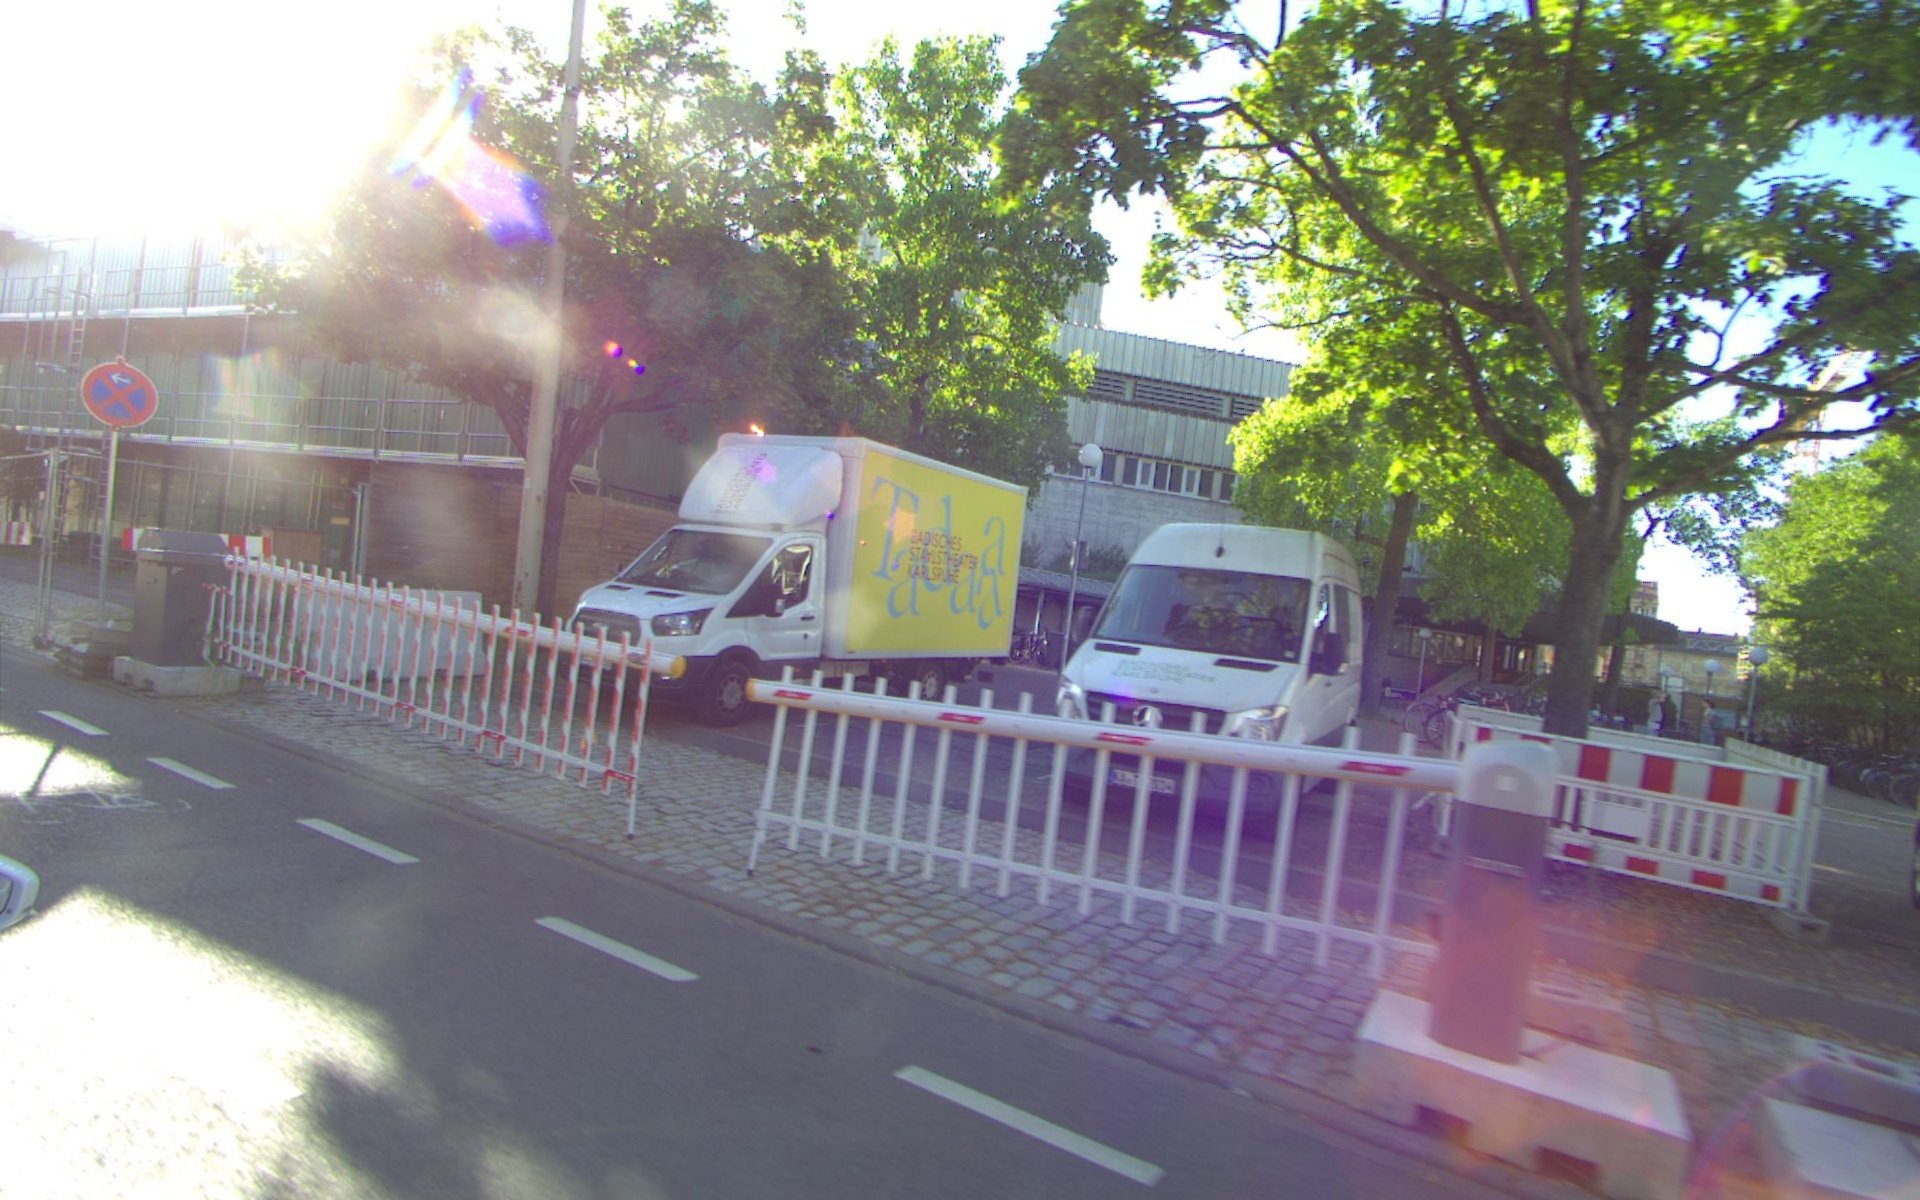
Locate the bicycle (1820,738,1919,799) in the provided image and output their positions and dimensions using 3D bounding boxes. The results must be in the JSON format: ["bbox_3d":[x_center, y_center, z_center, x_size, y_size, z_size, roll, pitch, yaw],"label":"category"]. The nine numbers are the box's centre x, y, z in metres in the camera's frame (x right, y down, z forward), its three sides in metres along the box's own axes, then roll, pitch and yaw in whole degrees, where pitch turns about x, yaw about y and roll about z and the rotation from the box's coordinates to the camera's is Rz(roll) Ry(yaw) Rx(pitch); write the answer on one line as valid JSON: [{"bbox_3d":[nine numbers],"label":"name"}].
[{"bbox_3d":[23.241,4.235,24.954,2.798,1.161,0.818,6,-1,40],"label":"bicycle"}]

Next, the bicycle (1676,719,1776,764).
[{"bbox_3d":[28.196,5.207,37.105,2.793,1.161,0.819,6,0,34],"label":"bicycle"}]

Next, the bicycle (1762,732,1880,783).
[{"bbox_3d":[27.880,5.084,32.661,2.798,1.161,0.818,6,-1,40],"label":"bicycle"}]

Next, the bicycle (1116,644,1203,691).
[{"bbox_3d":[6.372,2.150,32.312,0.814,1.161,2.811,7,-1,-36],"label":"bicycle"}]

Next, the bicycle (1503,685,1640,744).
[{"bbox_3d":[16.775,3.119,27.656,3.045,1.161,0.818,6,-1,40],"label":"bicycle"}]

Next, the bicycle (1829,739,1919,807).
[{"bbox_3d":[20.148,3.743,21.103,2.798,1.161,0.818,6,-1,40],"label":"bicycle"}]

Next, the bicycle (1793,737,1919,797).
[{"bbox_3d":[24.887,4.596,27.800,2.798,1.161,0.818,6,-1,40],"label":"bicycle"}]

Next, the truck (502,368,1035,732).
[{"bbox_3d":[-1.841,-0.353,12.999,2.350,3.390,7.105,7,0,31],"label":"truck"}]

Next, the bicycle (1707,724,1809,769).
[{"bbox_3d":[29.656,5.421,37.451,2.793,1.161,0.819,6,0,34],"label":"bicycle"}]

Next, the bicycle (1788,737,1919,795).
[{"bbox_3d":[26.052,4.800,29.366,2.798,1.161,0.818,6,-1,40],"label":"bicycle"}]

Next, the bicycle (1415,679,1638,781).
[{"bbox_3d":[9.325,2.103,16.689,3.045,1.161,0.818,6,-1,40],"label":"bicycle"}]

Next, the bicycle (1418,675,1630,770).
[{"bbox_3d":[9.787,2.102,17.590,3.045,1.161,0.818,6,-1,40],"label":"bicycle"}]

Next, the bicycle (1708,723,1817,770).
[{"bbox_3d":[27.907,5.085,35.054,2.793,1.161,0.819,6,0,34],"label":"bicycle"}]

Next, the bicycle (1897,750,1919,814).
[{"bbox_3d":[19.396,3.609,18.661,2.798,1.161,0.818,6,-1,40],"label":"bicycle"}]

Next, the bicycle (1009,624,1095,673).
[{"bbox_3d":[2.741,1.428,30.261,0.814,1.161,2.811,7,-1,-36],"label":"bicycle"}]

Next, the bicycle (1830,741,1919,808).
[{"bbox_3d":[20.721,3.874,21.734,2.798,1.161,0.818,6,-1,40],"label":"bicycle"}]

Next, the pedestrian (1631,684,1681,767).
[{"bbox_3d":[18.207,3.266,26.314,0.792,2.038,0.934,7,0,42],"label":"pedestrian"}]

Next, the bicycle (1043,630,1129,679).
[{"bbox_3d":[3.840,1.655,30.954,0.814,1.161,2.811,7,-1,-36],"label":"bicycle"}]

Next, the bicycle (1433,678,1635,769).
[{"bbox_3d":[10.486,2.222,18.492,3.045,1.161,0.818,6,-1,40],"label":"bicycle"}]

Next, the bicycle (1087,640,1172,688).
[{"bbox_3d":[5.359,2.016,32.043,0.814,1.161,2.811,7,-1,-36],"label":"bicycle"}]

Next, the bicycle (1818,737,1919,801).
[{"bbox_3d":[21.768,3.977,23.273,2.798,1.161,0.818,6,-1,40],"label":"bicycle"}]

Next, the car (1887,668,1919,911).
[{"bbox_3d":[7.803,1.499,6.438,1.980,1.916,4.929,7,1,36],"label":"car"}]

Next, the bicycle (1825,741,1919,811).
[{"bbox_3d":[19.425,3.668,20.360,2.798,1.161,0.818,6,-1,40],"label":"bicycle"}]

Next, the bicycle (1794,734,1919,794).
[{"bbox_3d":[24.305,4.402,27.050,2.798,1.161,0.818,6,-1,40],"label":"bicycle"}]

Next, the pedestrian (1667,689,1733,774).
[{"bbox_3d":[19.171,3.387,26.090,0.788,2.038,1.031,7,0,7],"label":"pedestrian"}]

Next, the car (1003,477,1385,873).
[{"bbox_3d":[2.560,0.531,9.502,1.965,2.564,5.369,7,2,28],"label":"car"}]

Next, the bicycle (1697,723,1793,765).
[{"bbox_3d":[30.328,5.545,38.933,2.793,1.161,0.819,6,0,34],"label":"bicycle"}]

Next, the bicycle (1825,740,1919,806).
[{"bbox_3d":[21.266,3.958,22.495,2.798,1.161,0.818,6,-1,40],"label":"bicycle"}]

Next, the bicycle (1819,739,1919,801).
[{"bbox_3d":[22.370,4.119,23.956,2.798,1.161,0.818,6,-1,40],"label":"bicycle"}]

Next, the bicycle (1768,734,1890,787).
[{"bbox_3d":[27.294,5.021,31.678,2.798,1.161,0.818,6,-1,40],"label":"bicycle"}]

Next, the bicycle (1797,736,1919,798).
[{"bbox_3d":[23.713,4.365,26.230,2.798,1.161,0.818,6,-1,40],"label":"bicycle"}]

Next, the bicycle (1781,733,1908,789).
[{"bbox_3d":[26.831,4.863,30.604,2.798,1.161,0.818,6,-1,40],"label":"bicycle"}]
